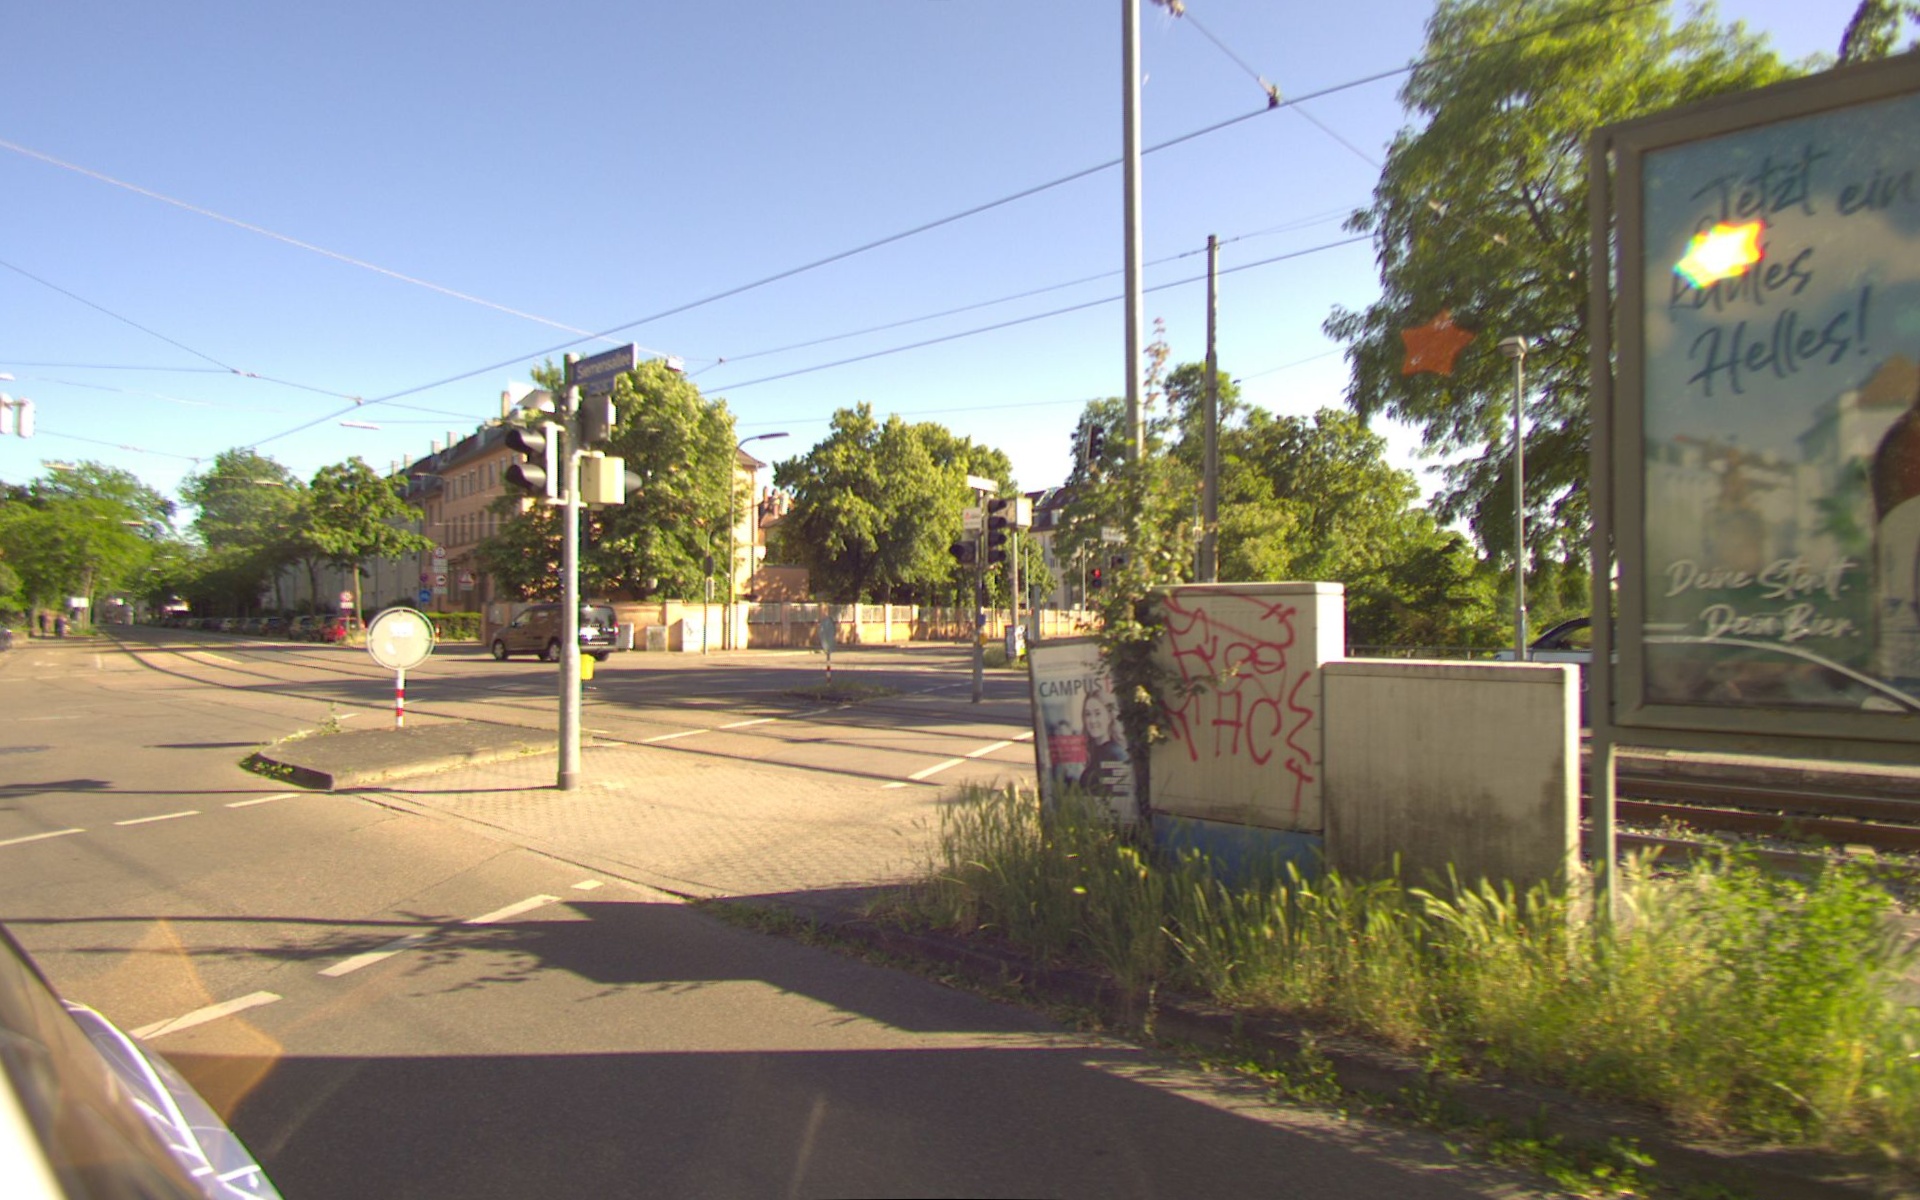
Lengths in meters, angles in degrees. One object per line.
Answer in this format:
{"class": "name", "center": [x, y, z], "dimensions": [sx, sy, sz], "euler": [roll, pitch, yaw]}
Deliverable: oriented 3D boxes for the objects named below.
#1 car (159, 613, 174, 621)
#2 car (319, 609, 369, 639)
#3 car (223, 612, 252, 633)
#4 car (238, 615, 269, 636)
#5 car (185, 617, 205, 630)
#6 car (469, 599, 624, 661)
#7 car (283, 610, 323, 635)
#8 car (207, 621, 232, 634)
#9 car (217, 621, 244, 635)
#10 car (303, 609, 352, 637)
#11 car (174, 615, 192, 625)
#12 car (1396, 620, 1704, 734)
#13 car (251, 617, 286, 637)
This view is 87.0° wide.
{"class": "car", "center": [-145.035, 3.174, 185.014], "dimensions": [1.789, 1.430, 3.634], "euler": [2, -2, -43]}
{"class": "car", "center": [-36.482, 1.405, 59.928], "dimensions": [1.790, 1.719, 3.377], "euler": [2, -2, -45]}
{"class": "car", "center": [-69.989, 2.211, 98.064], "dimensions": [1.789, 1.955, 3.634], "euler": [2, -2, -43]}
{"class": "car", "center": [-63.825, 2.301, 91.384], "dimensions": [1.789, 1.839, 3.799], "euler": [2, -2, -43]}
{"class": "car", "center": [-107.999, 3.377, 142.867], "dimensions": [1.789, 1.792, 3.634], "euler": [2, -2, -43]}
{"class": "car", "center": [-13.145, 0.901, 32.068], "dimensions": [5.015, 1.780, 1.978], "euler": [1, -1, 32]}
{"class": "car", "center": [-45.463, 1.559, 70.021], "dimensions": [1.789, 1.671, 3.882], "euler": [2, -2, -41]}
{"class": "car", "center": [-81.946, 3.061, 111.925], "dimensions": [1.789, 1.430, 3.634], "euler": [2, -2, -43]}
{"class": "car", "center": [-75.929, 2.905, 105.314], "dimensions": [1.789, 1.430, 3.634], "euler": [2, -2, -43]}
{"class": "car", "center": [-39.553, 1.441, 63.259], "dimensions": [1.790, 1.671, 3.822], "euler": [2, -2, -45]}
{"class": "car", "center": [-116.113, 2.968, 151.260], "dimensions": [1.789, 1.535, 3.634], "euler": [2, -2, -43]}
{"class": "car", "center": [9.359, 1.128, 16.210], "dimensions": [3.998, 1.579, 1.901], "euler": [-1, -2, 41]}
{"class": "car", "center": [-56.084, 2.206, 82.078], "dimensions": [1.789, 1.611, 3.634], "euler": [2, -2, -43]}
